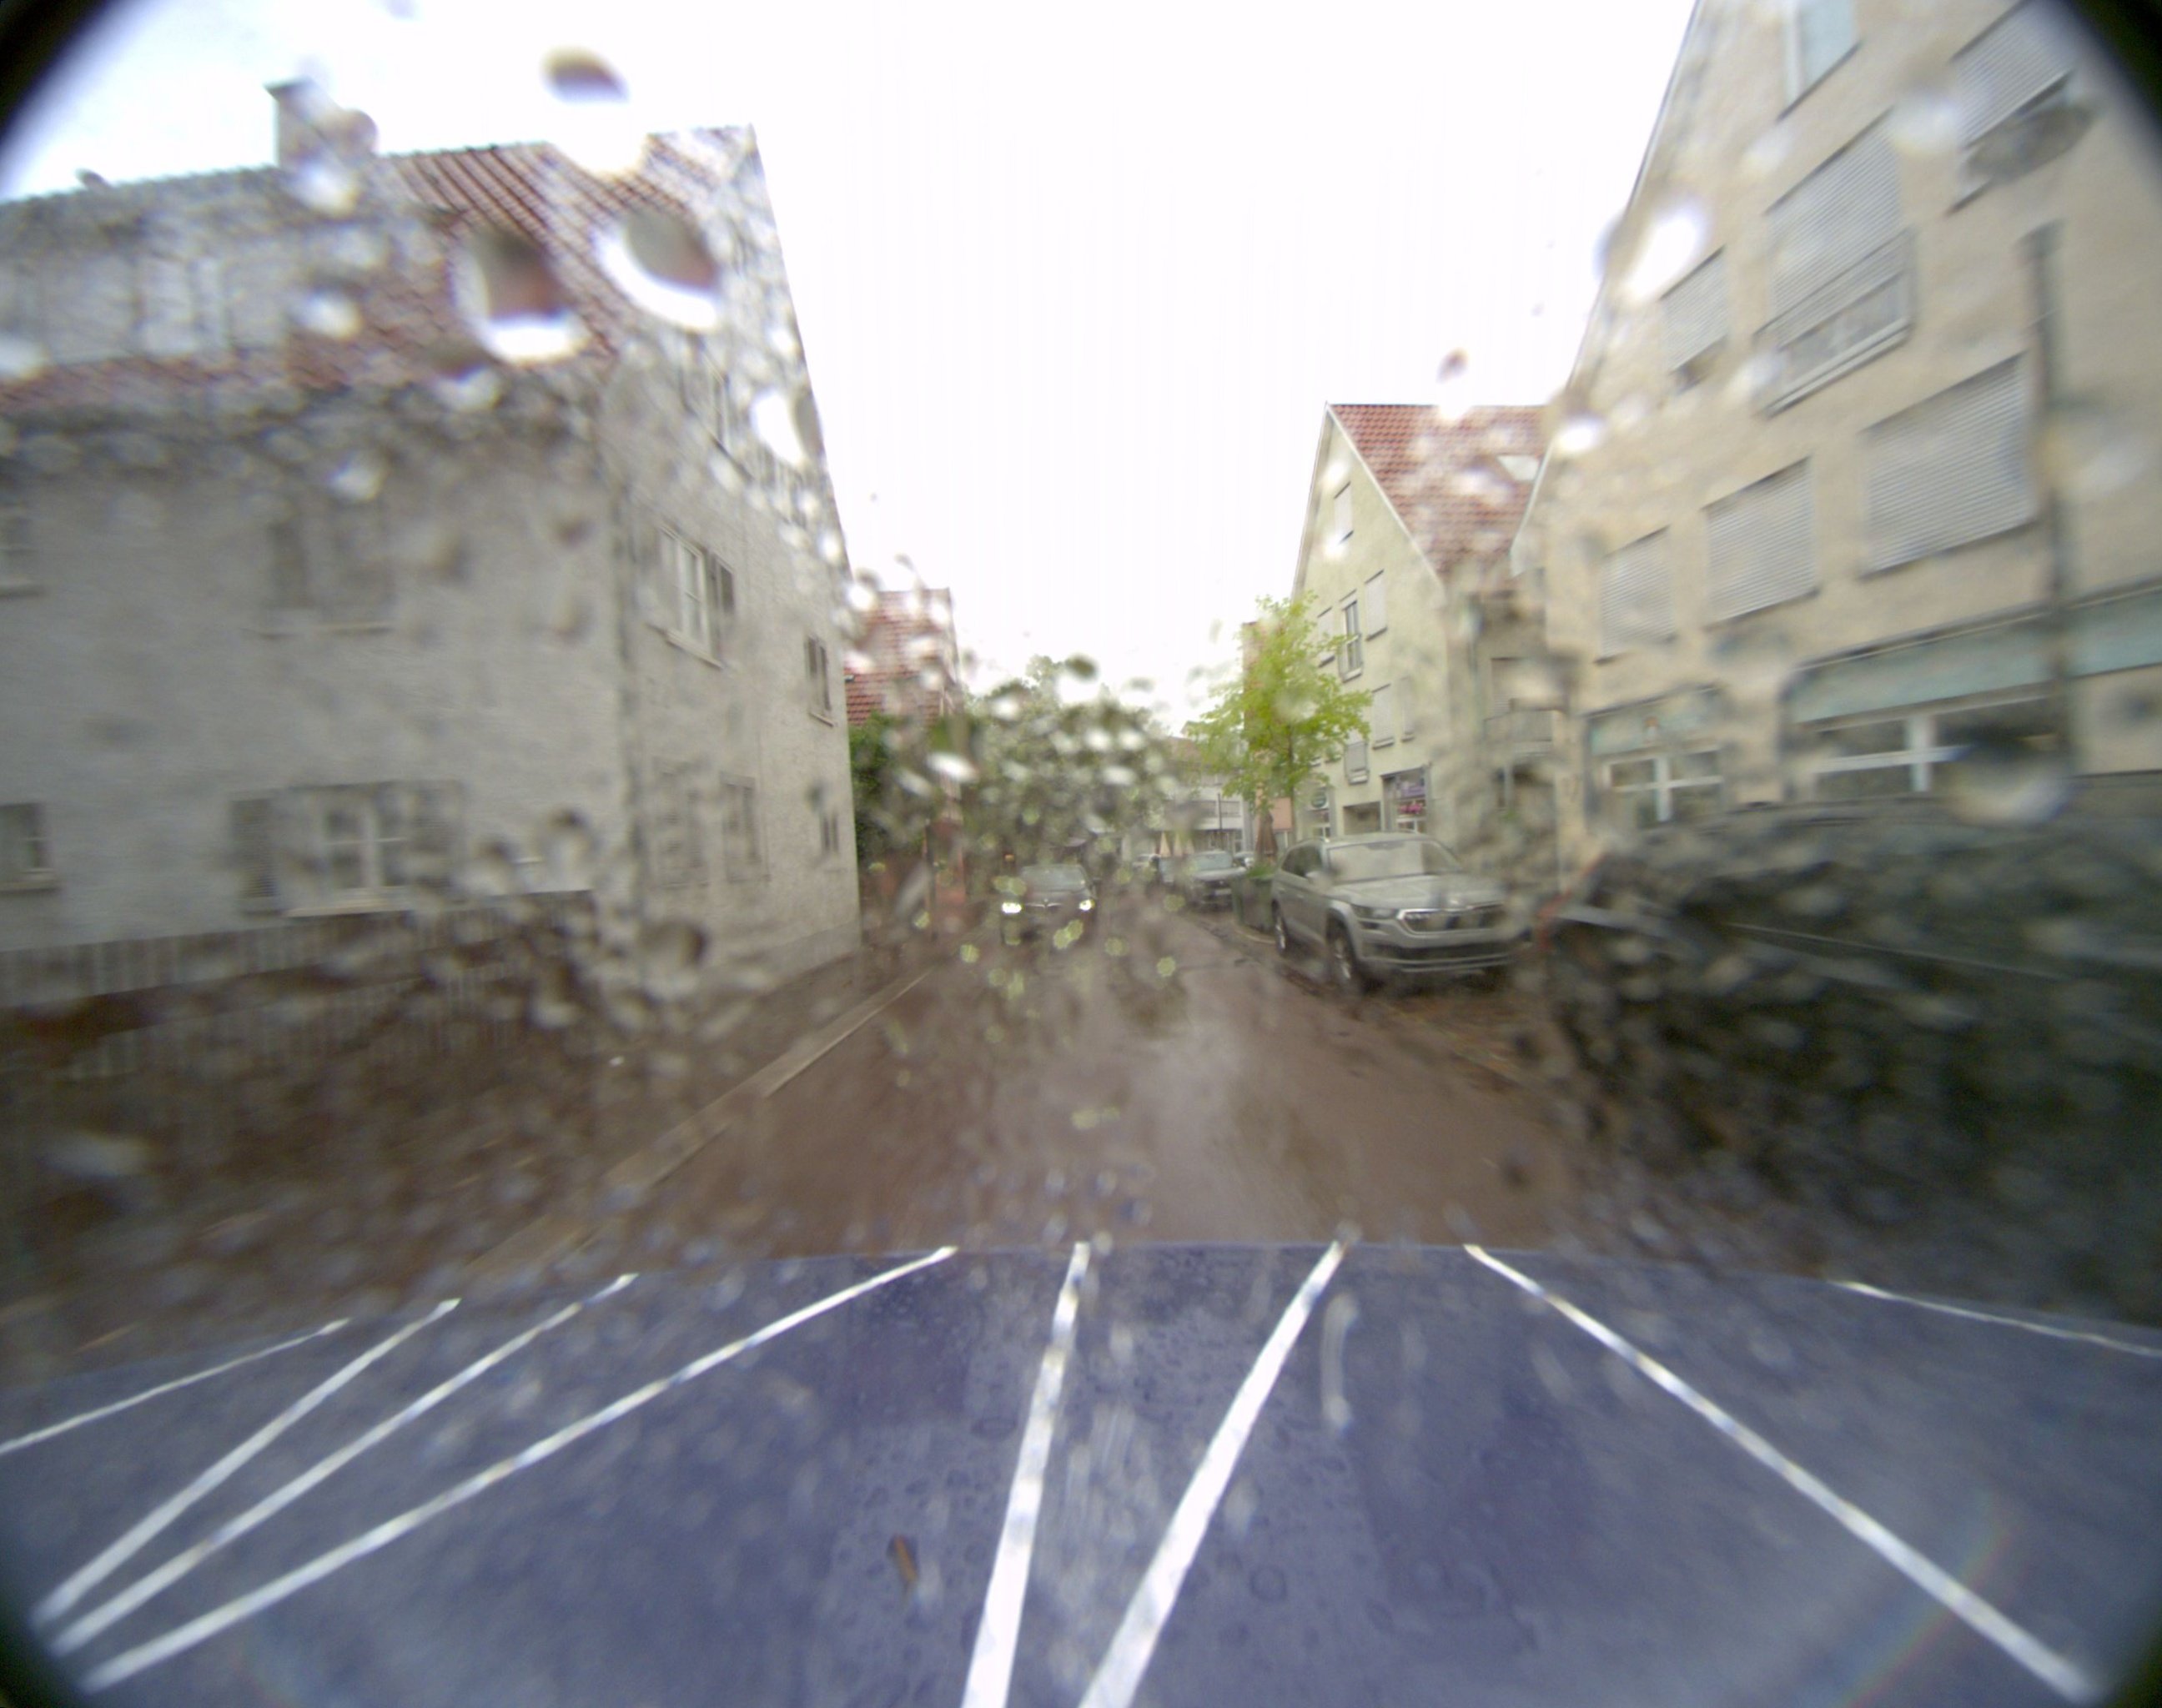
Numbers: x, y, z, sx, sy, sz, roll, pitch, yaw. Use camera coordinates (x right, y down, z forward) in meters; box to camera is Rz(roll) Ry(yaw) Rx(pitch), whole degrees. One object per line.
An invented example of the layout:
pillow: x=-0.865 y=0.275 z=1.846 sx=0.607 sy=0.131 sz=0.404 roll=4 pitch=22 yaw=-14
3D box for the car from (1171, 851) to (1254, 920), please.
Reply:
car: x=3.470 y=0.769 z=20.654 sx=1.596 sy=1.537 sz=3.976 roll=-3 pitch=1 yaw=2

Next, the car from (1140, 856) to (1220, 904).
car: x=3.326 y=0.856 z=26.427 sx=1.806 sy=1.424 sz=4.626 roll=-3 pitch=-1 yaw=-4

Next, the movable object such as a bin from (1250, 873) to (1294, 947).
movable object such as a bin: x=3.299 y=0.958 z=13.136 sx=0.603 sy=1.194 sz=0.523 roll=-3 pitch=2 yaw=3

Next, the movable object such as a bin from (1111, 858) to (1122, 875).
movable object such as a bin: x=2.411 y=0.857 z=51.476 sx=0.545 sy=1.143 sz=0.586 roll=-2 pitch=2 yaw=27

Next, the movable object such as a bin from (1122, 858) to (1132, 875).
movable object such as a bin: x=3.075 y=0.842 z=51.117 sx=0.477 sy=1.162 sz=0.489 roll=-2 pitch=2 yaw=27

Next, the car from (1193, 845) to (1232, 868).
car: x=11.144 y=0.228 z=64.052 sx=1.691 sy=1.680 sz=4.285 roll=-2 pitch=2 yaw=32

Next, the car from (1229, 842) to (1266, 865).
car: x=11.523 y=-0.031 z=52.424 sx=1.691 sy=1.414 sz=3.822 roll=-2 pitch=0 yaw=24

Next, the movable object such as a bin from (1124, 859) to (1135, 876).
movable object such as a bin: x=3.268 y=0.922 z=51.428 sx=0.534 sy=1.143 sz=0.501 roll=-2 pitch=2 yaw=27

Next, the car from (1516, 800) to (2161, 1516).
car: x=3.438 y=0.686 z=2.055 sx=1.838 sy=1.665 sz=4.539 roll=-3 pitch=1 yaw=-1

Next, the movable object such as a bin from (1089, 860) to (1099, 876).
movable object such as a bin: x=0.900 y=0.963 z=52.864 sx=0.430 sy=1.041 sz=0.501 roll=-2 pitch=2 yaw=27

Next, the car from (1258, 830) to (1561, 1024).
car: x=3.555 y=0.631 z=9.253 sx=1.776 sy=1.665 sz=4.479 roll=-4 pitch=1 yaw=2

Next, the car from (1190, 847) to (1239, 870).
car: x=10.040 y=0.310 z=56.915 sx=1.994 sy=1.445 sz=4.007 roll=-2 pitch=2 yaw=36

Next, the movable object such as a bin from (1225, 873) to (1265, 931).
movable object such as a bin: x=3.325 y=0.959 z=15.420 sx=0.622 sy=1.073 sz=0.725 roll=-3 pitch=2 yaw=2

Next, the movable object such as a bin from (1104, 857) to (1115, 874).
movable object such as a bin: x=1.941 y=0.798 z=51.921 sx=0.504 sy=1.143 sz=0.581 roll=-2 pitch=2 yaw=27

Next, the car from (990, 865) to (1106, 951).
car: x=-0.778 y=0.994 z=16.030 sx=1.999 sy=1.398 sz=4.891 roll=-3 pitch=0 yaw=-5

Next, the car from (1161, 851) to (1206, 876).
car: x=7.907 y=0.695 z=58.332 sx=1.691 sy=1.680 sz=3.964 roll=-2 pitch=2 yaw=34

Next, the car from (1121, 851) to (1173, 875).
car: x=4.773 y=0.611 z=54.406 sx=1.691 sy=1.530 sz=4.412 roll=-2 pitch=0 yaw=34
